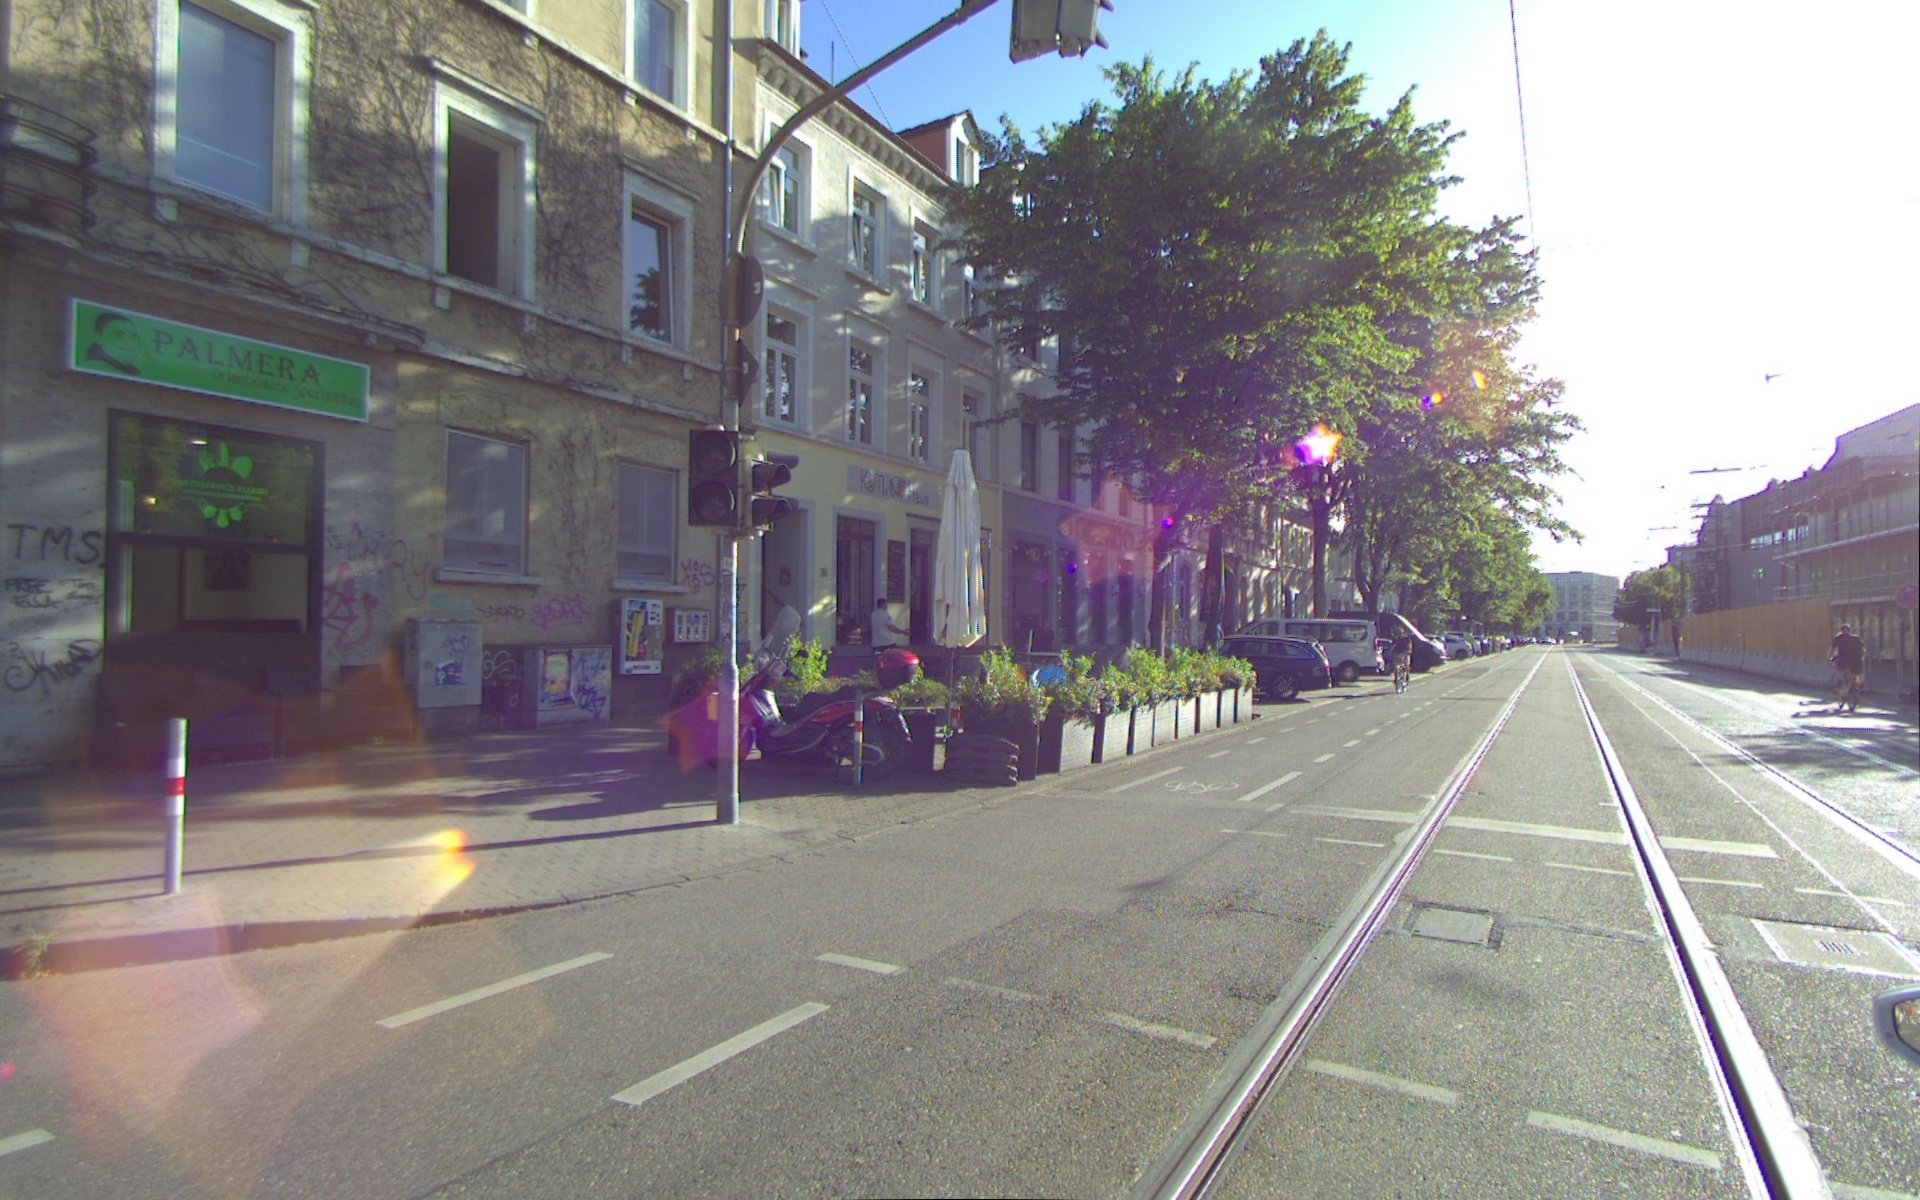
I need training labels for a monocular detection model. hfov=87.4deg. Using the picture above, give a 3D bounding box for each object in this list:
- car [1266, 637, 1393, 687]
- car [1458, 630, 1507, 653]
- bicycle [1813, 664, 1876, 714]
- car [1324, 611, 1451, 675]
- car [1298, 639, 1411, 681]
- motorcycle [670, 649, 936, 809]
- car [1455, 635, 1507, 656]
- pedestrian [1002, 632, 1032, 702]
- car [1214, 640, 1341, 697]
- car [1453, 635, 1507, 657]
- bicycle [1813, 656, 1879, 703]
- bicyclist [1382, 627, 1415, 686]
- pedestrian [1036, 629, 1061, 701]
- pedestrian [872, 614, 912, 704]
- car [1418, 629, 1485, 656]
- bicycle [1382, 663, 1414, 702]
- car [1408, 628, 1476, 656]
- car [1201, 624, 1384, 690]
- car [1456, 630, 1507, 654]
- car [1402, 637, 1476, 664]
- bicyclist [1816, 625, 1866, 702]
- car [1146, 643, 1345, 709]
[{"bbox_3d":[12.885,2.120,35.035,4.021,1.438,1.828,2,-1,24],"label":"car"},{"bbox_3d":[53.534,4.222,103.023,4.017,2.081,1.830,3,-1,10],"label":"car"},{"bbox_3d":[19.833,1.976,22.561,0.670,1.031,1.918,-1,-2,30],"label":"bicycle"},{"bbox_3d":[19.487,1.923,45.806,5.102,2.612,2.243,2,-1,28],"label":"car"},{"bbox_3d":[15.893,2.402,40.663,4.017,1.438,1.829,3,-1,15],"label":"car"},{"bbox_3d":[-1.470,1.219,9.837,2.373,1.368,1.001,2,-2,1],"label":"motorcycle"},{"bbox_3d":[50.121,4.392,96.702,4.017,1.777,1.830,3,-1,10],"label":"car"},{"bbox_3d":[1.390,1.625,24.421,0.530,1.664,0.569,-2,-2,29],"label":"pedestrian"},{"bbox_3d":[9.295,2.005,29.622,3.258,1.523,1.689,0,1,4],"label":"car"},{"bbox_3d":[48.535,4.277,93.760,4.017,1.777,1.830,3,-1,10],"label":"car"},{"bbox_3d":[23.187,2.061,26.333,0.880,1.107,2.425,0,-1,31],"label":"bicycle"},{"bbox_3d":[12.182,1.562,27.913,0.714,1.593,1.027,-1,-2,30],"label":"bicyclist"},{"bbox_3d":[2.191,1.604,24.891,0.495,1.737,0.540,-1,-2,17],"label":"pedestrian"},{"bbox_3d":[-1.284,1.111,19.080,0.530,1.664,0.569,-2,-2,29],"label":"pedestrian"},{"bbox_3d":[36.249,3.130,74.123,4.017,1.777,1.830,3,-1,10],"label":"car"},{"bbox_3d":[12.160,2.270,27.841,0.601,0.965,1.880,-1,-2,30],"label":"bicycle"},{"bbox_3d":[34.683,3.040,72.340,4.017,1.777,1.830,3,-1,10],"label":"car"},{"bbox_3d":[10.489,1.784,32.100,5.239,2.017,2.040,0,-2,8],"label":"car"},{"bbox_3d":[51.541,4.147,99.282,4.017,2.081,1.830,3,-1,10],"label":"car"},{"bbox_3d":[31.376,3.285,65.882,4.017,1.472,1.830,3,-1,11],"label":"car"},{"bbox_3d":[19.880,1.420,22.672,0.670,1.680,0.810,-1,-2,30],"label":"bicyclist"},{"bbox_3d":[6.926,1.825,24.776,4.550,1.510,1.690,0,-2,8],"label":"car"}]
